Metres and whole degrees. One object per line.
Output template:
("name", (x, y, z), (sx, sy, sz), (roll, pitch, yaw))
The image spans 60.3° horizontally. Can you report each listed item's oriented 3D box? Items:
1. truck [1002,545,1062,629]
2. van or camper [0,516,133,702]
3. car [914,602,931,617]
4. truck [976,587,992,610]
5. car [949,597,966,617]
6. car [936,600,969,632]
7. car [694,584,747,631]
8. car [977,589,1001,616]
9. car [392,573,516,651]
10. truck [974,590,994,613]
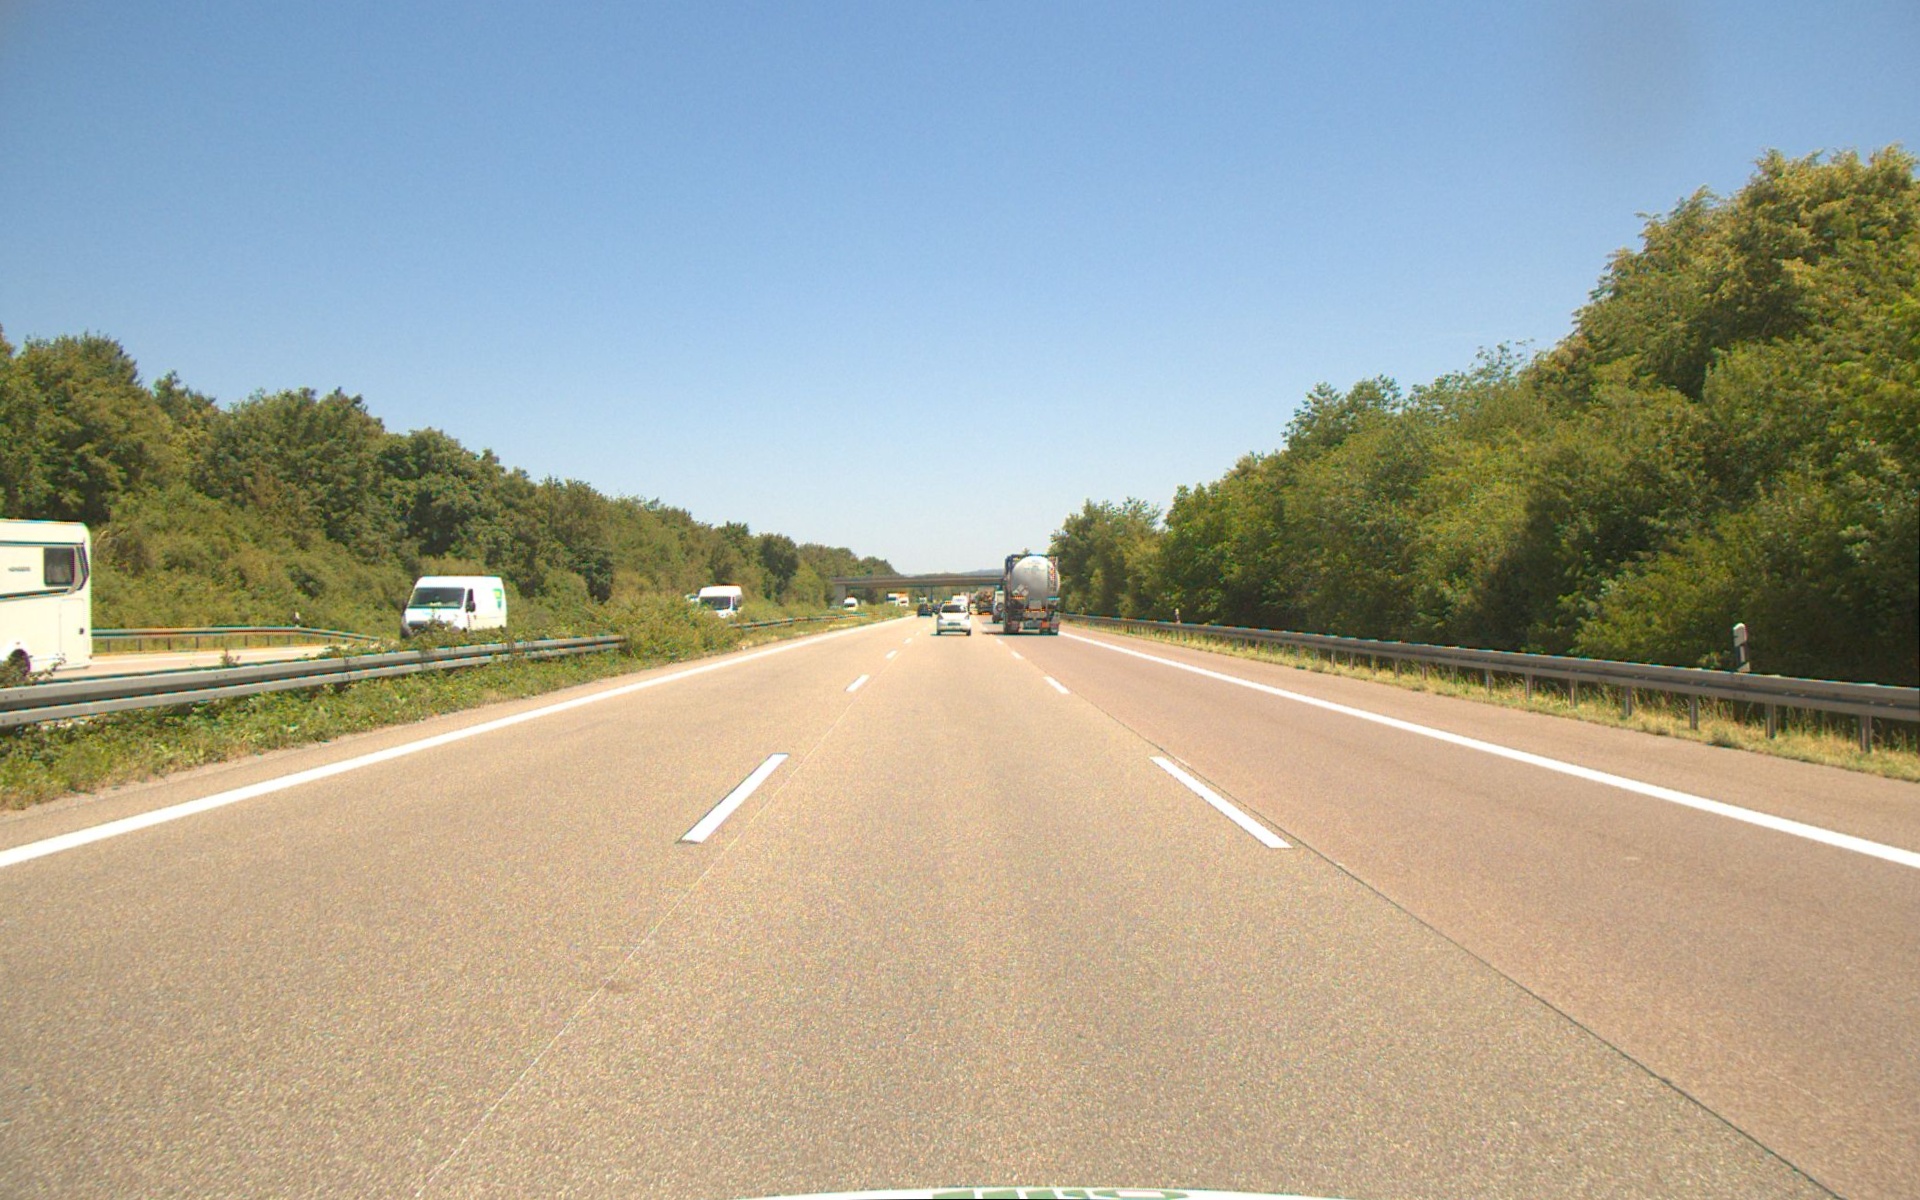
("truck", (3.684, -0.633, 86.884), (2.683, 4.123, 10.453), (0, 0, 0))
("van or camper", (-16.209, 0.140, 25.881), (2.461, 2.899, 8.026), (0, 0, 0))
("car", (-4.512, 1.124, 197.824), (1.953, 1.756, 4.786), (0, 0, 0))
("truck", (3.655, -0.181, 249.493), (2.243, 3.297, 6.343), (1, -1, 0))
("car", (-0.247, 0.858, 198.713), (1.952, 2.384, 4.387), (0, 0, 1))
("car", (-0.373, 0.762, 80.470), (1.594, 1.505, 3.999), (0, 0, -1))
("car", (-13.049, 0.393, 90.485), (1.953, 2.442, 6.165), (-1, 0, 0))
("car", (2.415, 0.225, 138.645), (1.953, 2.264, 4.786), (0, 0, 0))
("car", (-17.003, 0.383, 55.988), (2.169, 2.484, 6.419), (-1, 0, 0))
("truck", (3.477, 0.198, 239.778), (2.855, 3.297, 6.343), (1, -1, 0))
